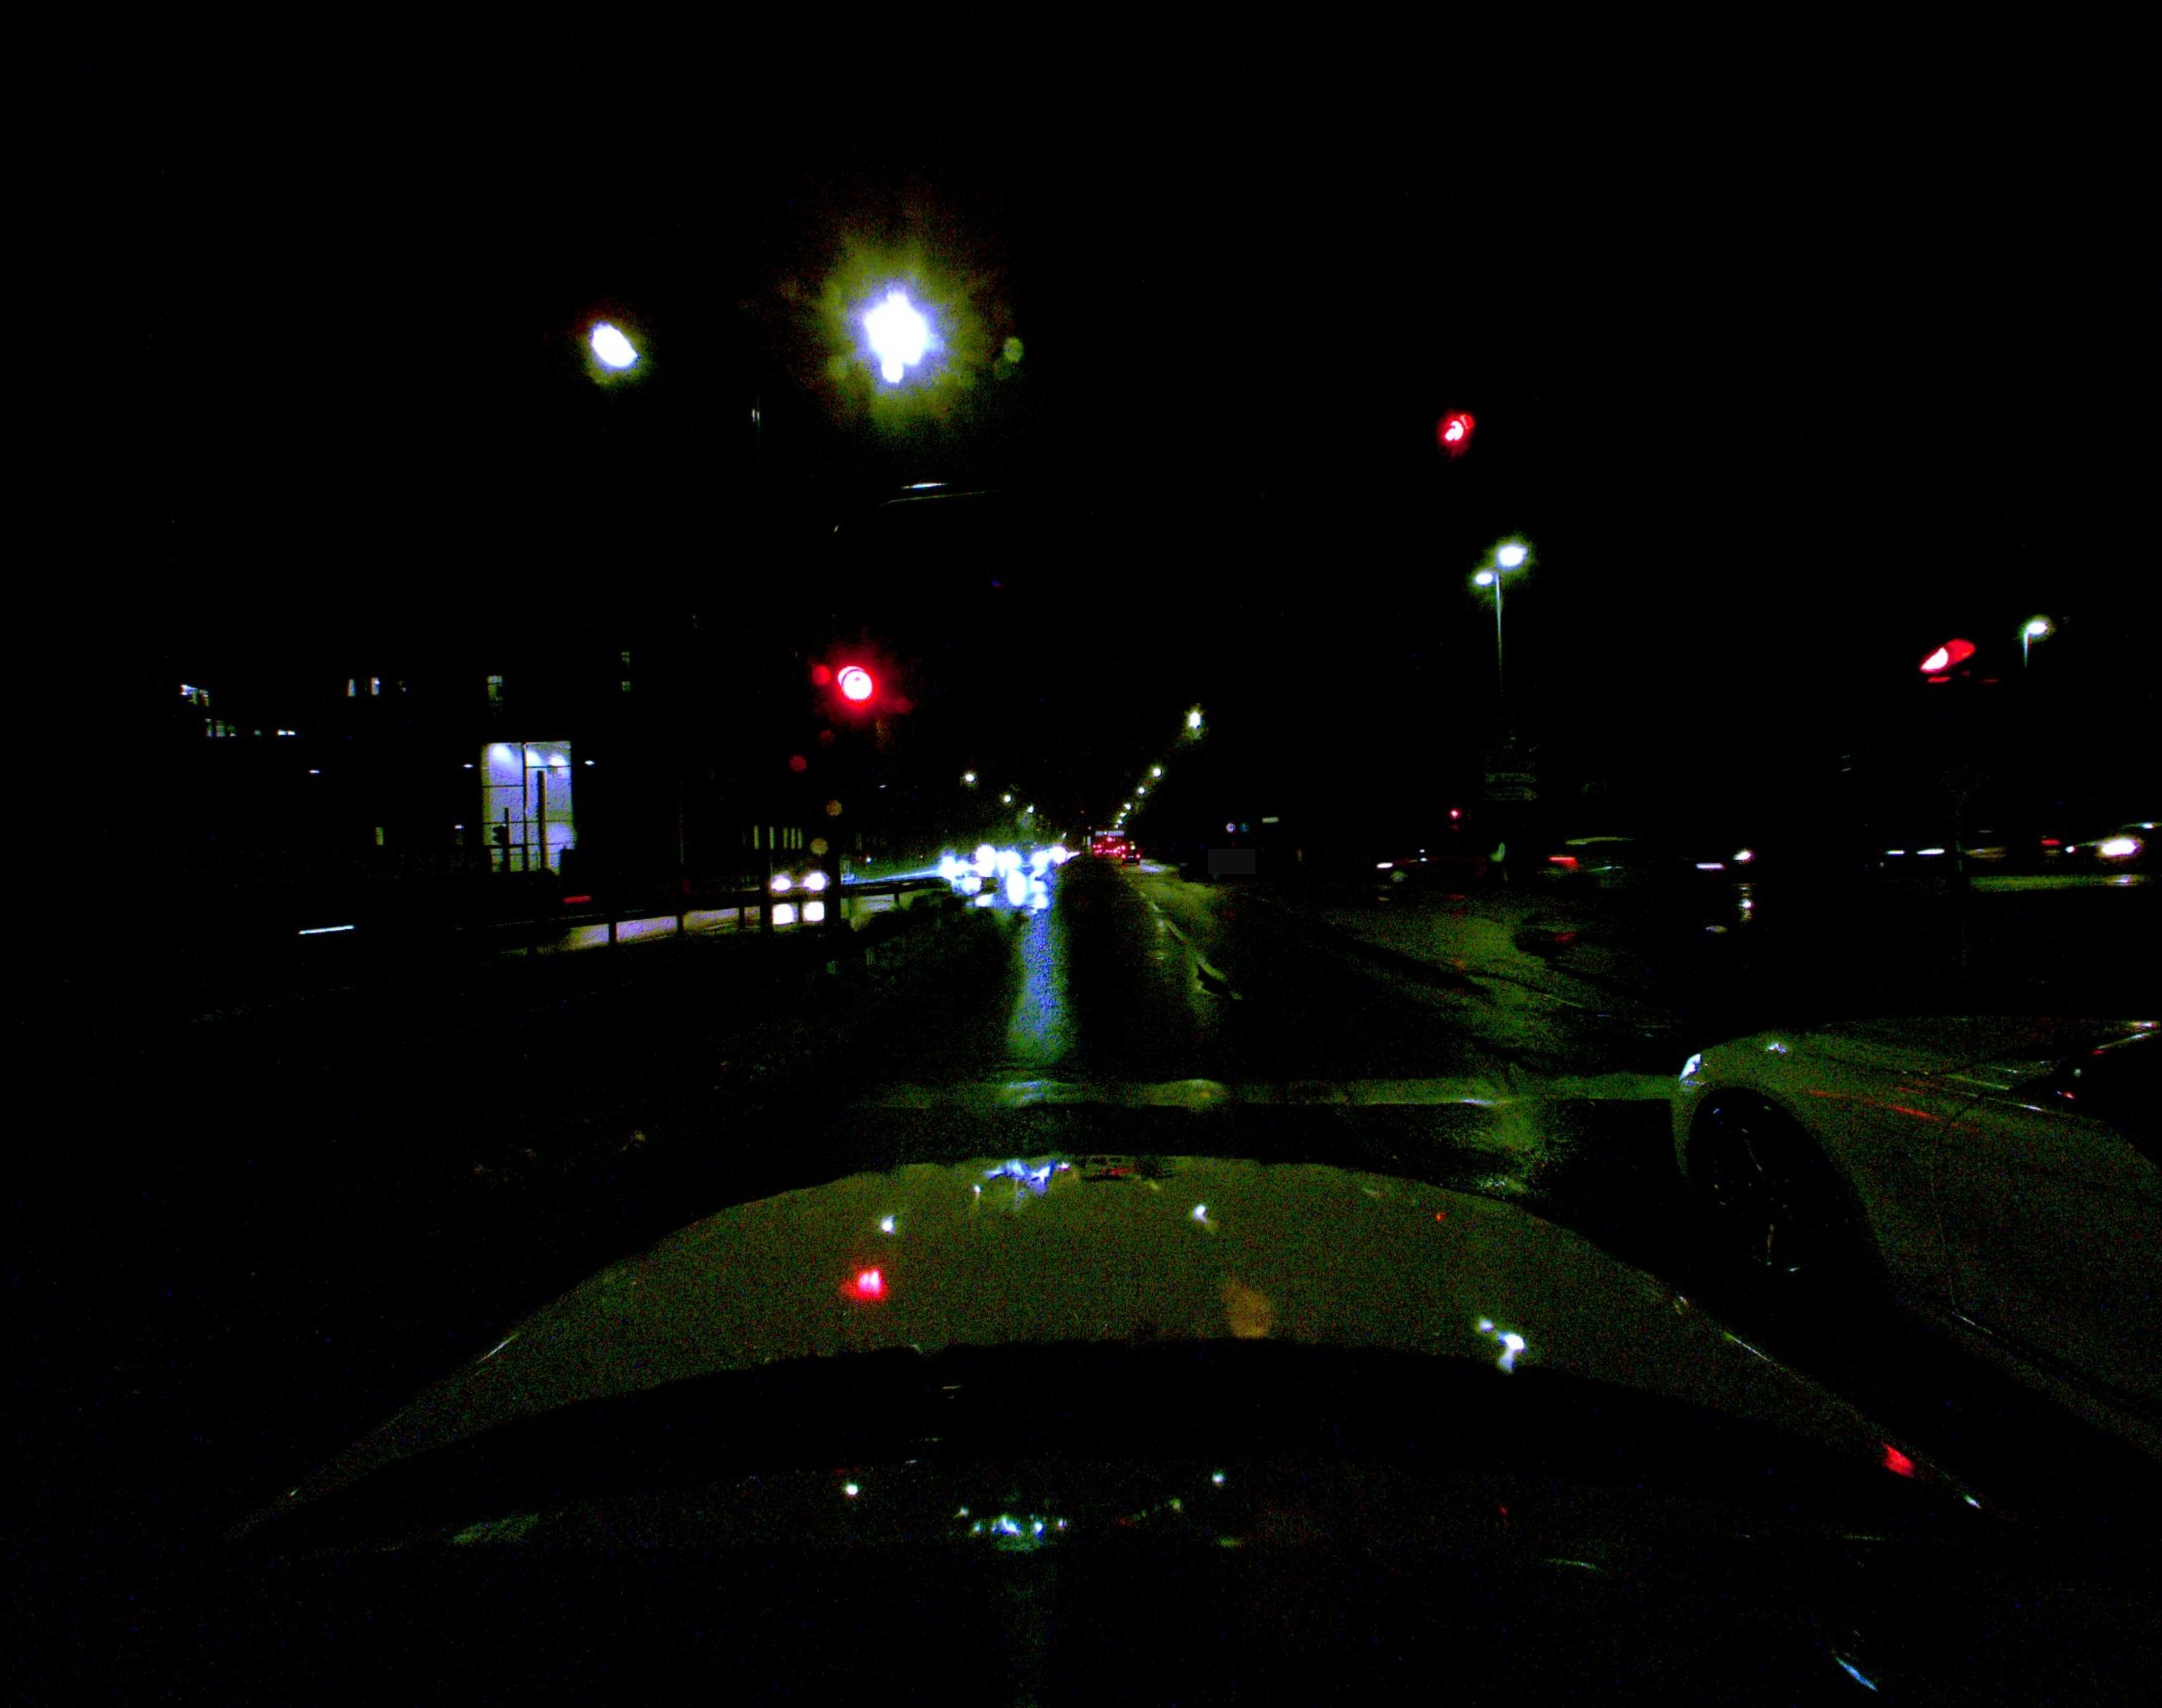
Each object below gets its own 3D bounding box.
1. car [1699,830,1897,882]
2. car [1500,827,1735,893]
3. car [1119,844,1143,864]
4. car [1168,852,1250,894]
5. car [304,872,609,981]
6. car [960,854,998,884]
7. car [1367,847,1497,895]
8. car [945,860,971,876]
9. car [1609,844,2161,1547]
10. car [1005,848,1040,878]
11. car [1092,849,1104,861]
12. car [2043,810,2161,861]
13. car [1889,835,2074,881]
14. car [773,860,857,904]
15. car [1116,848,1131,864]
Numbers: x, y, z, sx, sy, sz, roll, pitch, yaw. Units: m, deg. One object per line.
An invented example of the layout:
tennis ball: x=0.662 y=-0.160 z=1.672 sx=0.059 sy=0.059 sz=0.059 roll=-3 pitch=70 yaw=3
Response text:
car: x=24.299 y=0.084 z=27.756 sx=4.823 sy=1.590 sz=1.857 roll=-1 pitch=-1 yaw=8
car: x=14.002 y=0.192 z=21.663 sx=4.911 sy=1.610 sz=2.011 roll=-1 pitch=-1 yaw=22
car: x=4.733 y=0.044 z=77.769 sx=1.898 sy=1.780 sz=3.996 roll=-1 pitch=-1 yaw=-3
car: x=5.886 y=0.861 z=37.641 sx=3.386 sy=1.838 sz=1.697 roll=-2 pitch=-1 yaw=45
car: x=-10.652 y=1.128 z=14.422 sx=1.878 sy=1.552 sz=4.435 roll=-1 pitch=-1 yaw=2
car: x=-6.594 y=0.924 z=52.864 sx=1.776 sy=1.816 sz=4.002 roll=-2 pitch=-1 yaw=2
car: x=13.600 y=0.672 z=31.822 sx=4.310 sy=1.755 sz=1.991 roll=-1 pitch=-1 yaw=11
car: x=-12.246 y=1.388 z=81.363 sx=1.840 sy=1.590 sz=4.354 roll=-1 pitch=-1 yaw=2
car: x=3.127 y=0.714 z=1.291 sx=1.714 sy=1.446 sz=4.383 roll=-3 pitch=-1 yaw=1
car: x=-4.085 y=0.644 z=57.753 sx=1.986 sy=2.014 sz=4.001 roll=-2 pitch=0 yaw=2
car: x=2.956 y=0.248 z=139.877 sx=1.986 sy=2.014 sz=4.001 roll=-1 pitch=-1 yaw=2
car: x=35.155 y=-0.605 z=26.785 sx=4.311 sy=1.590 sz=1.858 roll=-1 pitch=-1 yaw=10
car: x=32.998 y=0.159 z=29.968 sx=4.311 sy=1.590 sz=1.858 roll=-1 pitch=-1 yaw=10
car: x=-10.529 y=1.078 z=32.619 sx=1.764 sy=1.569 sz=4.333 roll=-2 pitch=-1 yaw=2
car: x=6.350 y=0.329 z=121.611 sx=2.200 sy=2.215 sz=3.644 roll=-1 pitch=-1 yaw=2
